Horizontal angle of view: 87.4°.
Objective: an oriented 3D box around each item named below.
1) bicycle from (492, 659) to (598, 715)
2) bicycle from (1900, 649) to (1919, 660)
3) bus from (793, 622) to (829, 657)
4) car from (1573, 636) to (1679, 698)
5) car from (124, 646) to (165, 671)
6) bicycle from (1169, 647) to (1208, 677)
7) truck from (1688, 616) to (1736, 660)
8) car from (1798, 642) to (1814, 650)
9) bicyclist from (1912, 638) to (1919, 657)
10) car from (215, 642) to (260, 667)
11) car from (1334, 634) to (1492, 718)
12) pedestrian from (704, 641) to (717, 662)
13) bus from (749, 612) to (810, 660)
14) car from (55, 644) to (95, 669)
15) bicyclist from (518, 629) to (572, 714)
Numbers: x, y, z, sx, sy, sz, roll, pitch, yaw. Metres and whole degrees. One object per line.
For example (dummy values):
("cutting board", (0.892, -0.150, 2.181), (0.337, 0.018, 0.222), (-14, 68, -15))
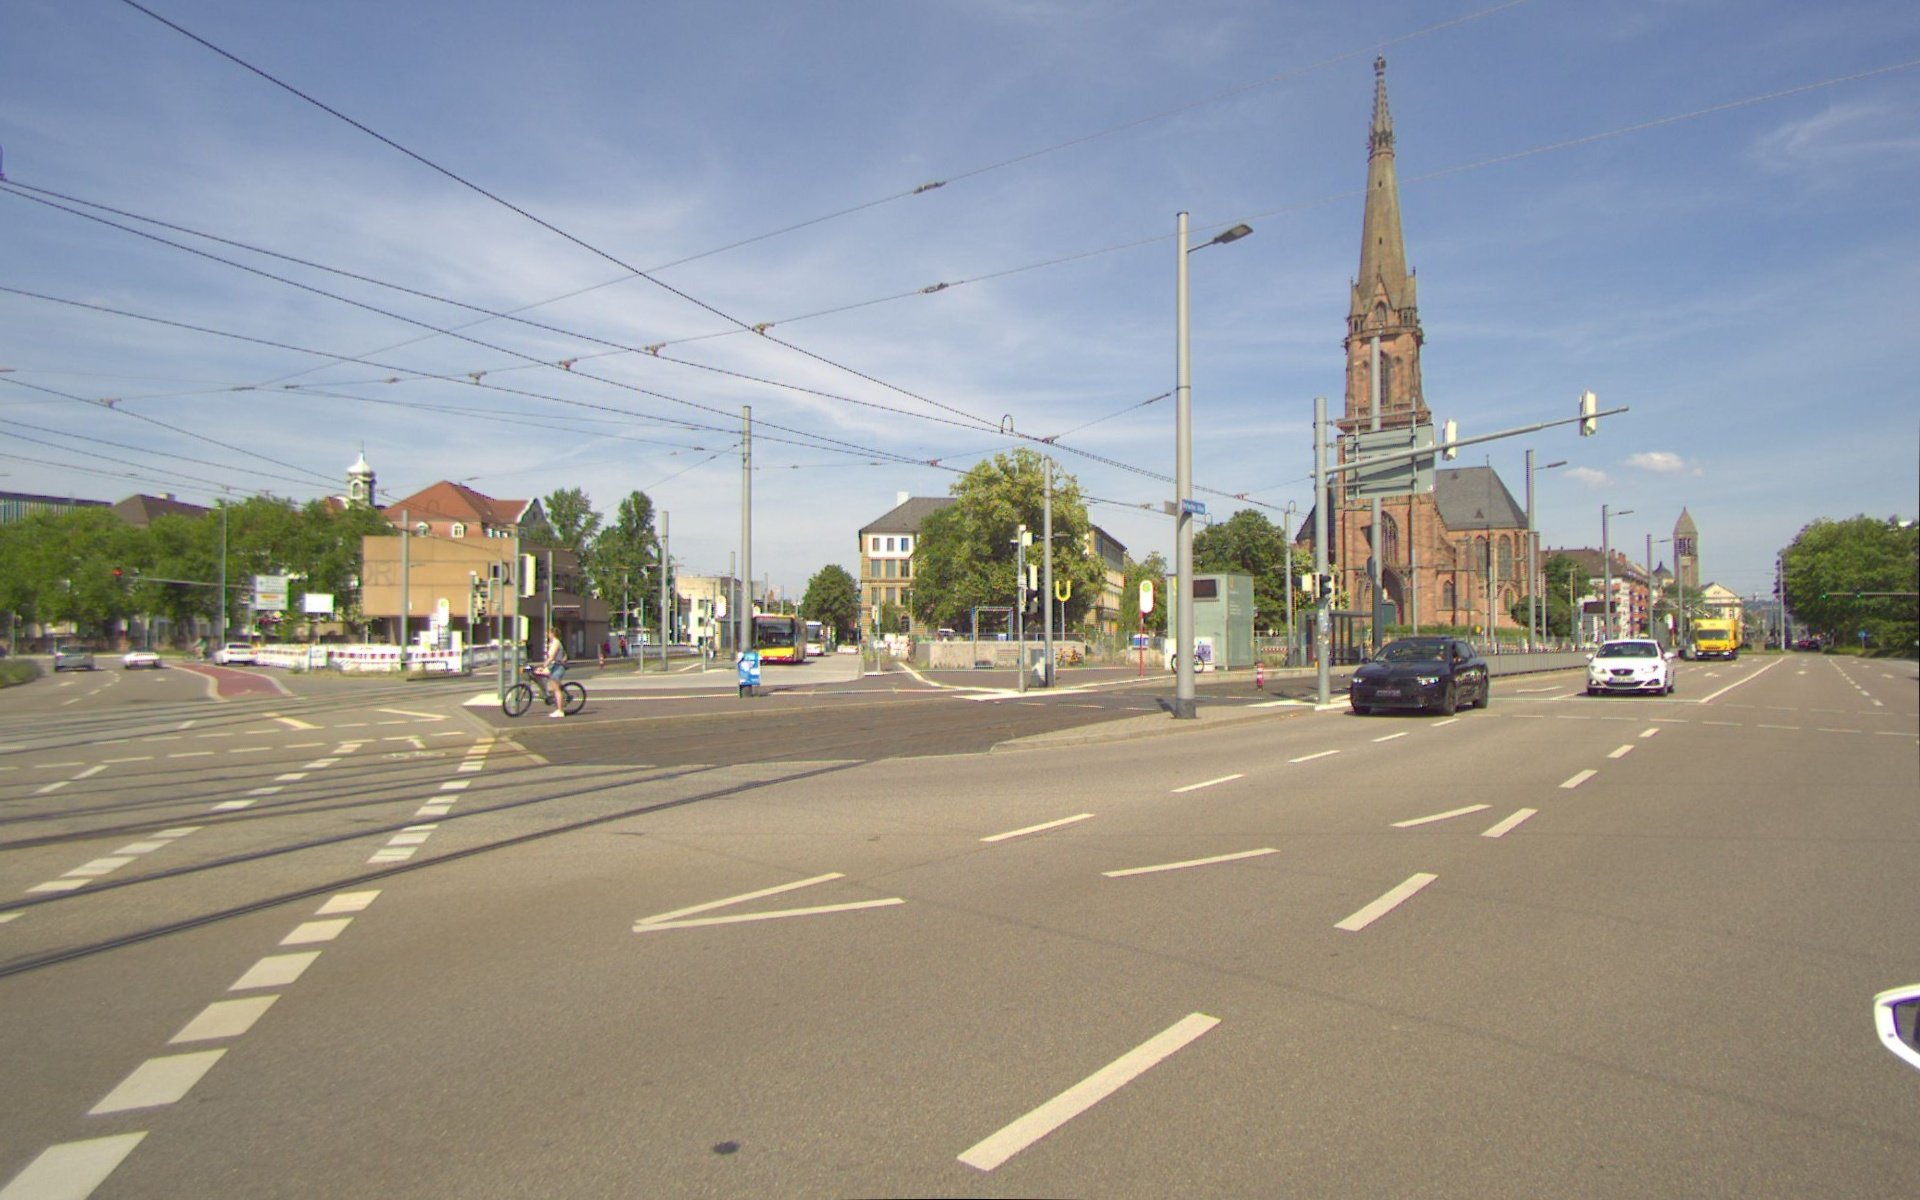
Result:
("bicycle", (-8.495, 1.769, 20.598), (1.836, 1.098, 0.742), (4, -4, -43))
("bicycle", (81.199, 4.628, 85.423), (1.790, 0.875, 0.483), (-1, 0, 26))
("bus", (-14.824, 3.970, 100.643), (2.706, 3.366, 11.784), (0, -2, -5))
("car", (17.224, 1.696, 25.897), (1.735, 1.416, 4.105), (-7, -6, 40))
("car", (-47.494, 3.399, 58.460), (1.588, 1.304, 3.949), (-1, -1, -43))
("bicycle", (9.113, 2.470, 40.075), (1.644, 1.085, 0.410), (-1, -2, -31))
("truck", (61.472, 3.172, 81.986), (2.514, 3.340, 8.987), (-5, -5, 39))
("car", (139.801, 7.590, 166.045), (1.876, 1.394, 3.800), (-2, -3, 38))
("bicyclist", (81.379, 4.035, 85.324), (0.629, 1.613, 0.483), (-1, 0, 26))
("car", (-45.131, 3.370, 62.708), (1.791, 1.439, 3.949), (-1, -1, -43))
("car", (9.101, 1.437, 19.976), (1.734, 1.475, 4.402), (-3, -3, 40))
("pedestrian", (-16.637, 3.425, 66.922), (0.533, 1.384, 0.904), (-1, 0, -32))
("bus", (-11.430, 2.202, 64.629), (2.706, 2.718, 11.781), (-2, -1, -5))
("car", (-50.280, 3.195, 57.060), (1.588, 1.304, 3.949), (-1, -1, -43))
("bicyclist", (-8.510, 1.454, 20.606), (0.771, 1.706, 0.742), (4, -4, -43))
